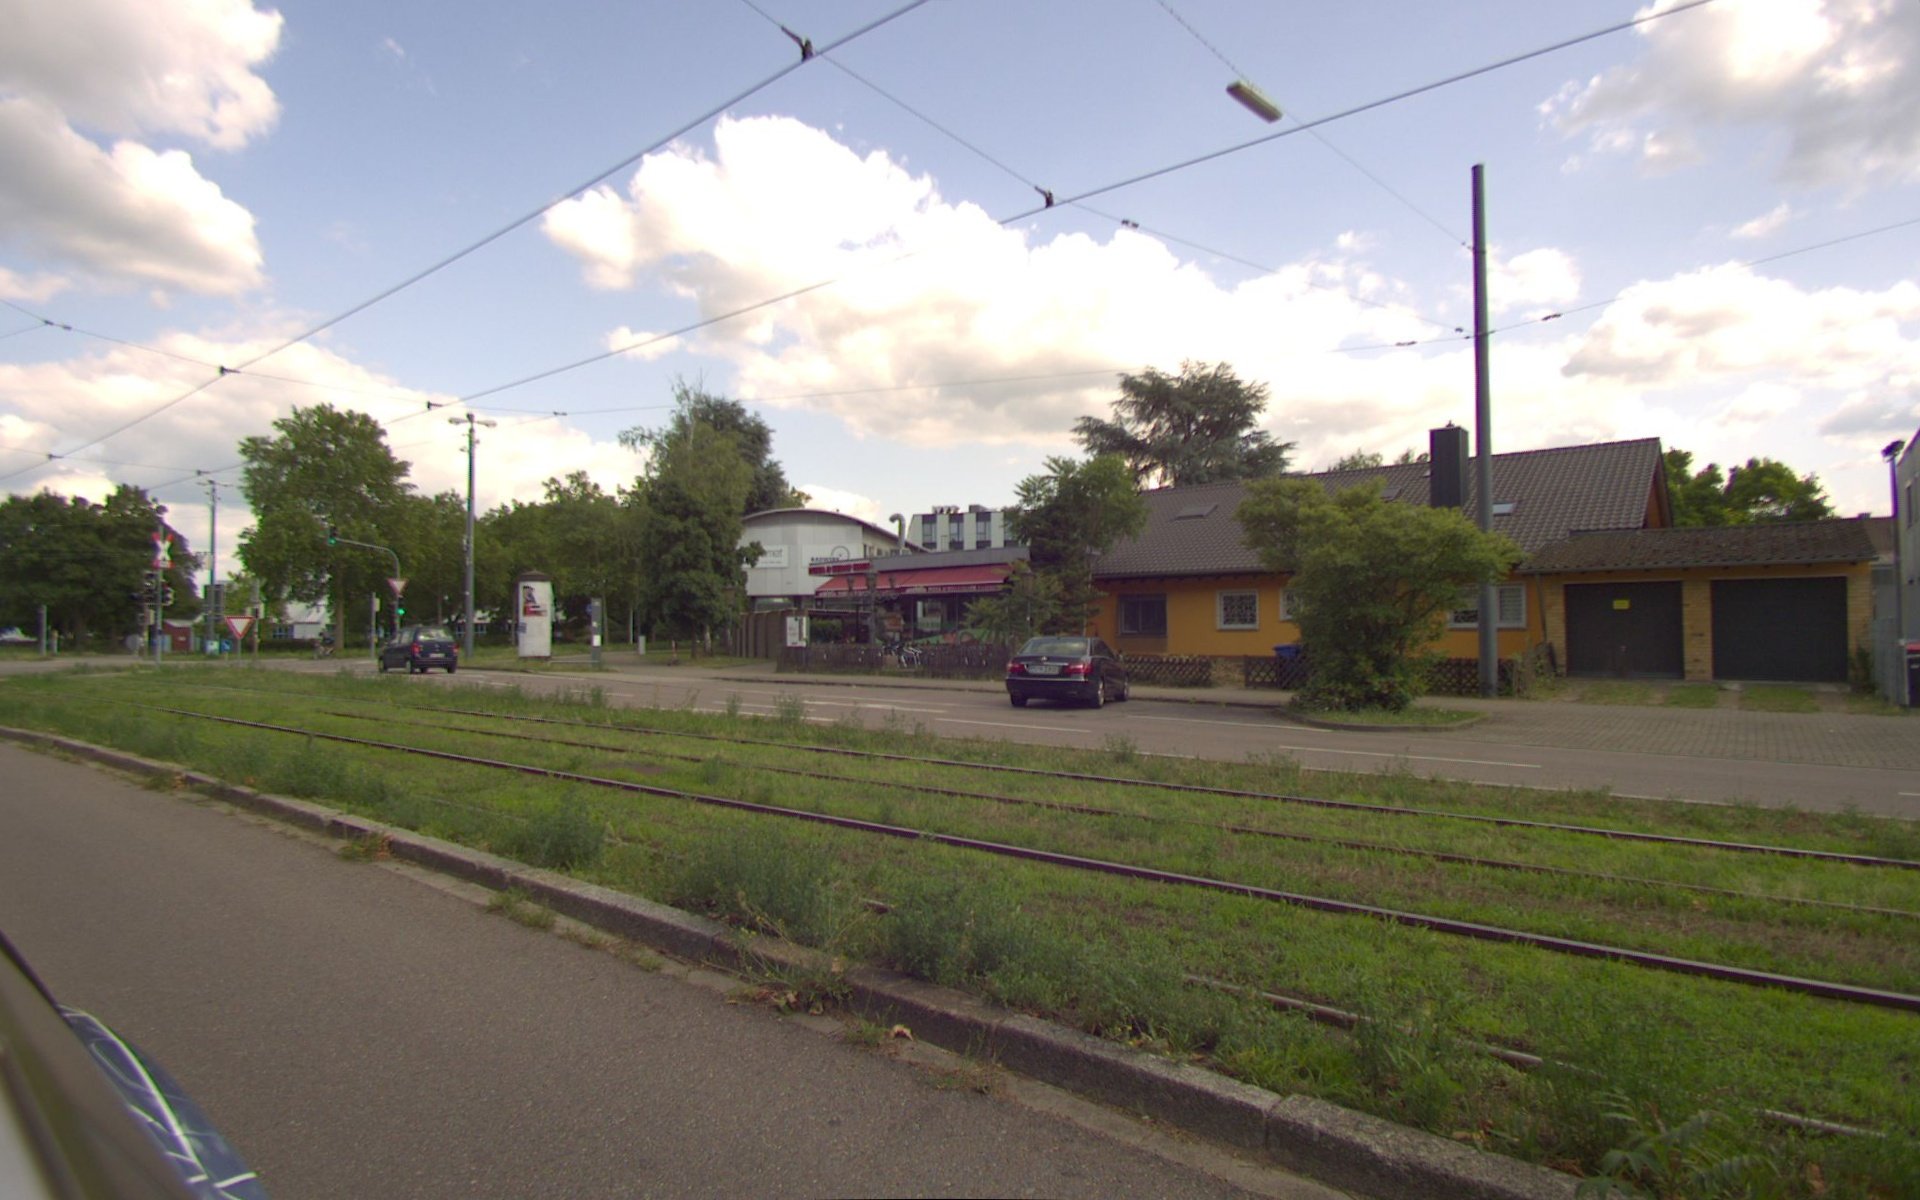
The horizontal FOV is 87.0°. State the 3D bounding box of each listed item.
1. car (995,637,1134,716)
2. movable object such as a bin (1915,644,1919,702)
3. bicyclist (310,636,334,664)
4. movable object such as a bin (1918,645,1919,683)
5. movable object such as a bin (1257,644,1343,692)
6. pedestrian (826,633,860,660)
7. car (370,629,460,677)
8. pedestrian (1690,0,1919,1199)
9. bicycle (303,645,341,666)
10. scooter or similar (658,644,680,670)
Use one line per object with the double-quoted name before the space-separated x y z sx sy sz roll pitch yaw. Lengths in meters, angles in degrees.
"car" 2.319 1.505 21.190 1.869 1.418 4.620 0 -2 20
"movable object such as a bin" 17.685 1.331 18.330 0.479 1.050 0.488 -3 -2 40
"bicyclist" -34.848 2.731 55.285 0.827 1.481 0.798 -3 -3 25
"movable object such as a bin" 17.331 1.335 17.903 0.481 1.050 0.499 -3 -2 40
"movable object such as a bin" 8.161 1.610 24.312 1.616 1.109 1.242 -2 -3 39
"pedestrian" -5.018 1.991 43.532 0.931 1.155 1.141 -2 -3 41
"car" -19.435 1.836 36.037 3.495 1.639 1.759 -2 -2 42
"pedestrian" 1.048 0.345 0.442 0.836 1.699 0.808 0 -1 -18
"bicycle" -34.841 3.055 55.278 2.057 1.068 0.798 -3 -3 25
"scooter or similar" -12.185 2.387 42.333 0.421 1.041 1.225 1 -3 -40
